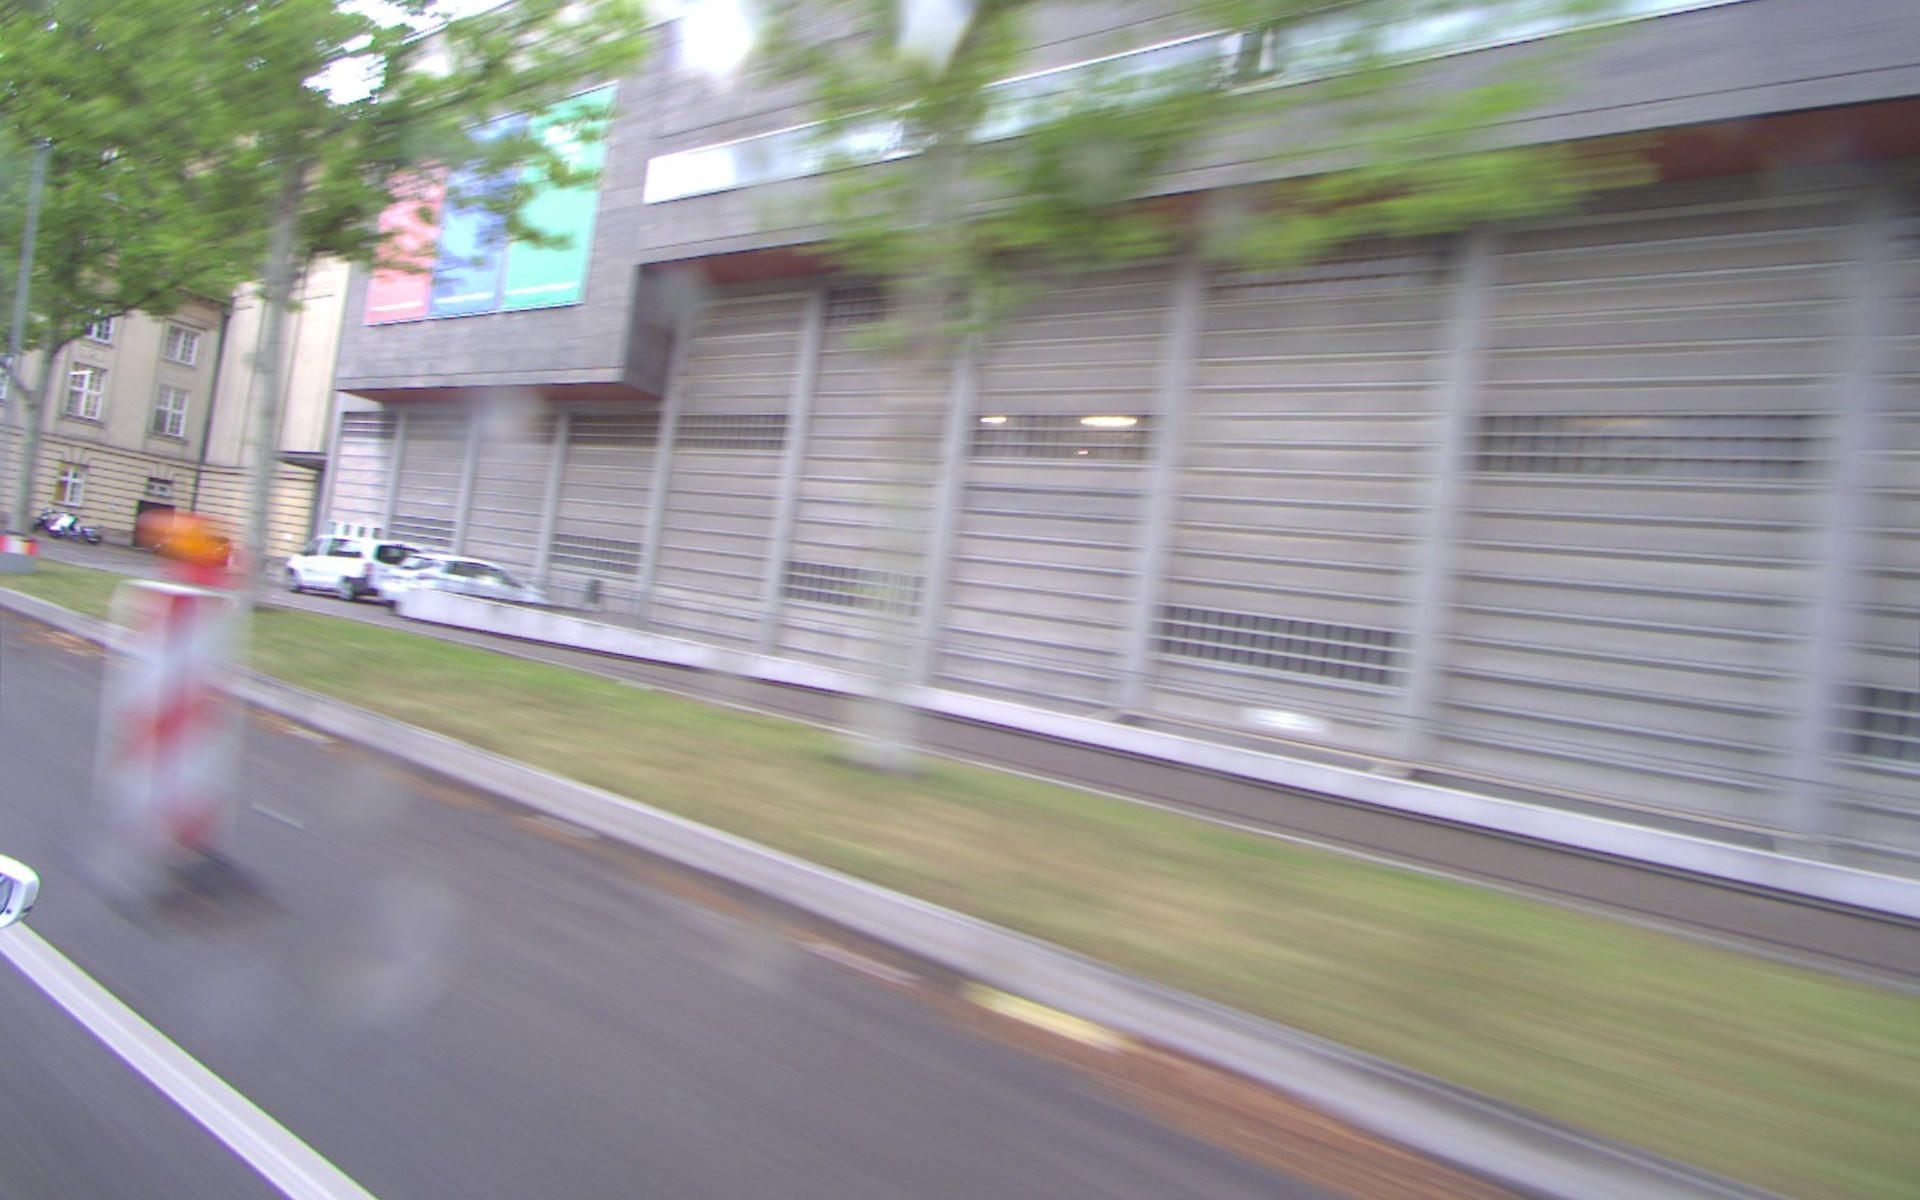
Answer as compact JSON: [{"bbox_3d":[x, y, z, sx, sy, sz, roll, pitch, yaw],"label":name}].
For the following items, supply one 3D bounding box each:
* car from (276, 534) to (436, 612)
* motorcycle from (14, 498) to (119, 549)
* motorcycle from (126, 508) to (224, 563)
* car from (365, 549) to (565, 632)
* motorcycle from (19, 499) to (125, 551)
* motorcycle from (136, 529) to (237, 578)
[{"bbox_3d":[-18.267,-0.844,30.342,5.014,1.779,1.997,5,-3,33],"label":"car"},{"bbox_3d":[-39.400,-3.341,44.412,0.876,1.558,3.168,5,-6,36],"label":"motorcycle"},{"bbox_3d":[-37.634,-3.060,48.297,1.134,2.035,3.356,5,-4,34],"label":"motorcycle"},{"bbox_3d":[-12.296,-0.195,25.216,1.902,1.577,3.993,4,-3,33],"label":"car"},{"bbox_3d":[-38.596,-3.237,43.804,0.876,1.558,3.169,5,-6,35],"label":"motorcycle"},{"bbox_3d":[-35.722,-2.121,46.540,1.134,1.546,3.360,5,-6,34],"label":"motorcycle"}]
